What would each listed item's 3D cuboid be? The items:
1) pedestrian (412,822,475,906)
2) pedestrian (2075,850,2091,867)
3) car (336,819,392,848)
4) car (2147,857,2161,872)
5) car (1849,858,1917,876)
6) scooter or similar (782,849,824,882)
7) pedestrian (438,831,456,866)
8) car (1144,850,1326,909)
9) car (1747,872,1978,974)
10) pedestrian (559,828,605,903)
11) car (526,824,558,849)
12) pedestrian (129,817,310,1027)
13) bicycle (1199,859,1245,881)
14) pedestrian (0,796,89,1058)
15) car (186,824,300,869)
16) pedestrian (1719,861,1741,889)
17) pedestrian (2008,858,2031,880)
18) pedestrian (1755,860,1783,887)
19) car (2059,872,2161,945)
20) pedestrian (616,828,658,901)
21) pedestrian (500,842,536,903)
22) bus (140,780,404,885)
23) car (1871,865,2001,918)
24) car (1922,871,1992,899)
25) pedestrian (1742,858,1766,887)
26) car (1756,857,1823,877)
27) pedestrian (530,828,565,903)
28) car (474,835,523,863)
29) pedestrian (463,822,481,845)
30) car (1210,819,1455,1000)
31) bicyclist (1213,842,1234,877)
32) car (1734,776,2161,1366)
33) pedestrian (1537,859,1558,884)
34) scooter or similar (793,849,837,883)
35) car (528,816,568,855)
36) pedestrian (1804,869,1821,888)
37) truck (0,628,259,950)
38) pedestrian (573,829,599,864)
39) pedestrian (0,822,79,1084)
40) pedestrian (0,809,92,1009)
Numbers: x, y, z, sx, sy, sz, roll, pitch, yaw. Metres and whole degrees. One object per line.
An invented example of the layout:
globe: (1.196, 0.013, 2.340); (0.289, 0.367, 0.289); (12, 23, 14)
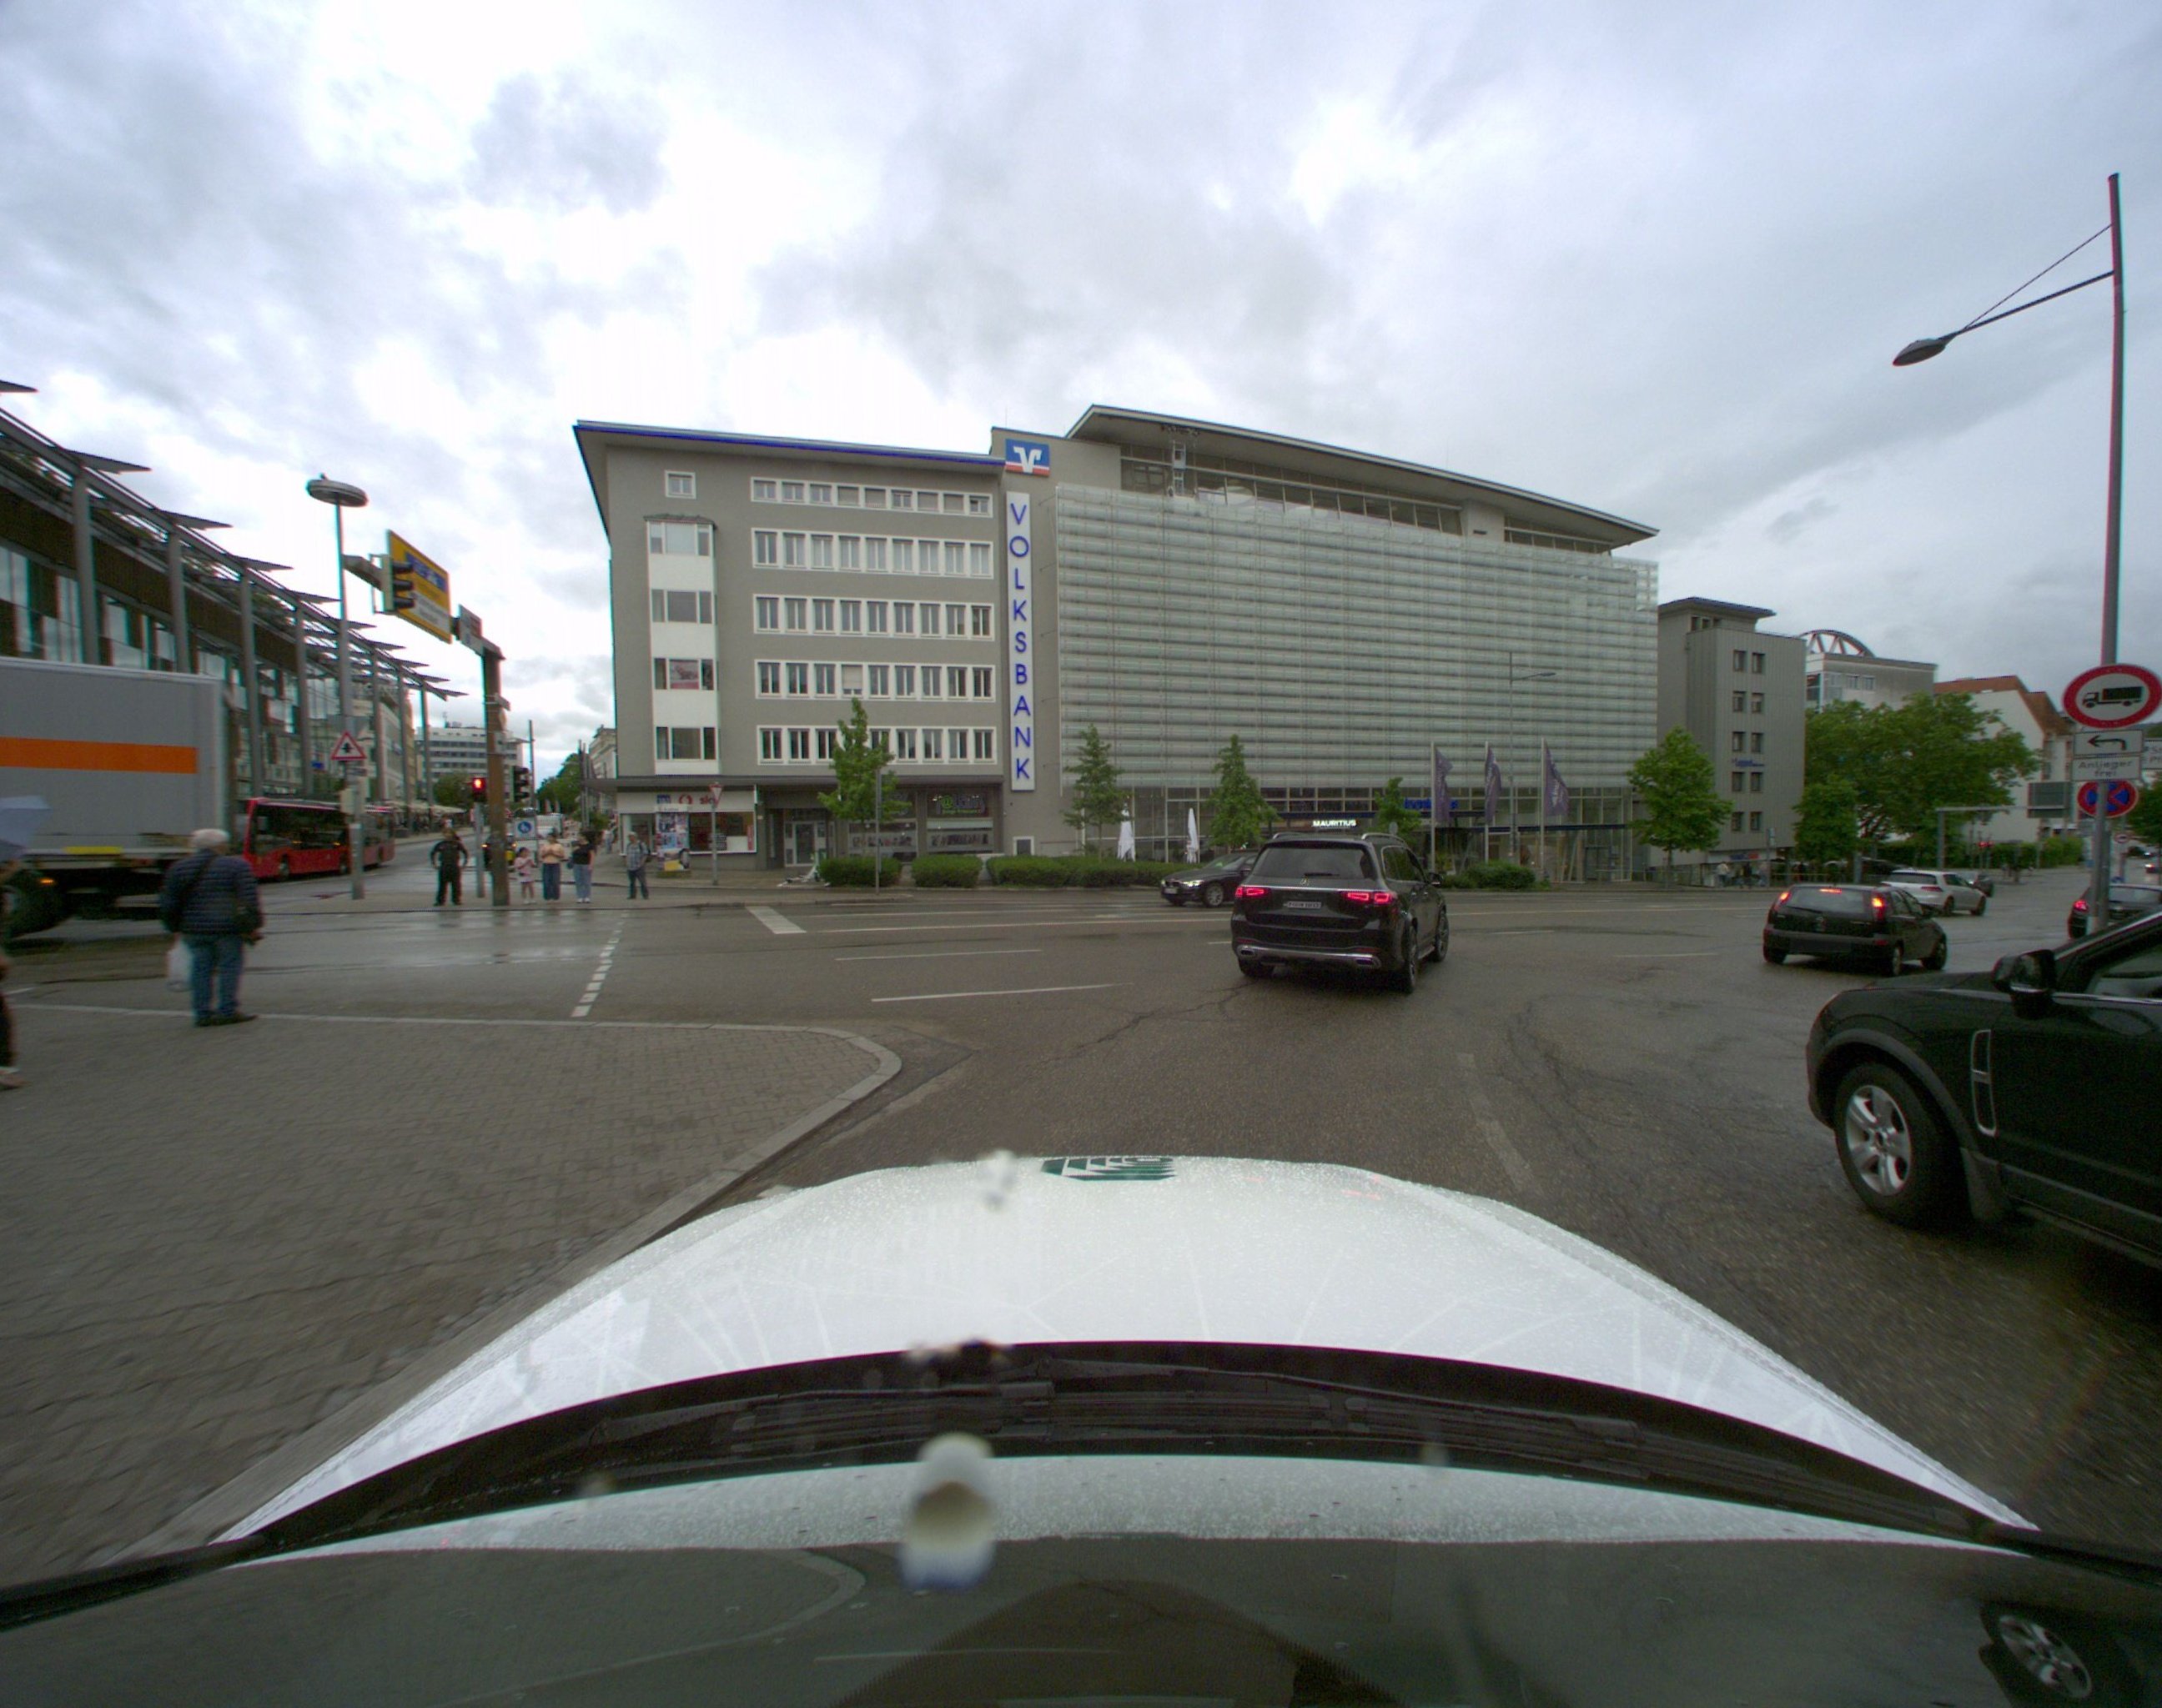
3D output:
pedestrian: (-14.015, 0.207, 17.935); (1.017, 1.787, 0.844); (1, 0, -36)
pedestrian: (107.096, 0.459, 87.031); (0.895, 1.803, 0.631); (1, 0, 22)
car: (-53.136, -1.474, 60.443); (2.257, 2.034, 5.303); (1, 0, -32)
car: (105.549, 1.061, 79.429); (3.877, 1.451, 1.694); (0, 2, -35)
car: (79.681, 1.270, 80.946); (1.951, 1.482, 4.555); (1, 3, -39)
scooter or similar: (-10.319, 0.428, 30.269); (1.380, 1.187, 0.542); (-1, 1, -10)
pedestrian: (-33.242, -0.294, 42.697); (0.629, 1.803, 0.897); (1, 0, -31)
car: (4.187, 0.648, 22.027); (4.645, 1.425, 1.982); (1, 0, -29)
car: (13.295, 1.140, 13.827); (3.779, 1.420, 1.707); (3, 0, -28)
pedestrian: (-11.518, 0.252, 18.816); (0.784, 1.689, 0.634); (1, 0, -21)
car: (-40.091, -1.291, 60.641); (1.873, 1.826, 4.063); (1, 0, -32)
pedestrian: (-6.956, 0.514, 6.634); (0.716, 1.568, 0.848); (1, -1, -25)
bicycle: (6.996, 0.785, 40.377); (2.141, 0.993, 0.691); (-1, 1, -16)
pedestrian: (-7.446, 0.458, 5.267); (0.982, 1.672, 0.908); (1, 0, -24)
car: (-41.500, -0.364, 40.557); (2.460, 2.075, 5.851); (1, 0, -30)
pedestrian: (40.900, 1.309, 51.320); (1.044, 1.722, 0.984); (1, 0, -45)
pedestrian: (81.136, 1.288, 70.388); (0.838, 1.882, 1.059); (1, 0, -20)
pedestrian: (45.380, 1.298, 53.711); (1.090, 1.722, 0.970); (1, 0, -20)
car: (26.363, 1.295, 20.239); (4.012, 1.573, 1.938); (1, 2, -30)
pedestrian: (-11.097, 0.256, 20.352); (0.836, 1.778, 0.611); (1, 0, -35)
pedestrian: (-12.632, 0.406, 18.278); (0.634, 1.339, 0.581); (1, 0, -35)
bus: (-32.939, -0.761, 34.581); (2.937, 3.320, 18.308); (0, 1, -29)
car: (29.013, 1.224, 27.636); (4.009, 1.573, 1.939); (1, 2, -27)
car: (51.428, 1.767, 47.902); (1.823, 1.552, 4.119); (0, -1, 32)
pedestrian: (41.381, 1.133, 50.080); (1.318, 1.713, 0.810); (1, 0, -34)
car: (75.503, 1.384, 86.866); (2.010, 1.758, 5.031); (1, 3, -39)
pedestrian: (-12.112, 0.251, 18.507); (0.571, 1.668, 0.498); (0, 1, -23)
car: (-33.480, -0.310, 46.902); (1.747, 1.527, 3.964); (1, 1, -28)
pedestrian: (-49.752, -1.681, 66.516); (0.958, 1.886, 0.804); (1, 0, -23)
car: (3.608, 0.571, 10.907); (2.068, 1.817, 4.822); (2, 0, 30)
bicyclist: (7.056, 0.273, 40.387); (0.846, 1.704, 0.620); (-1, 1, -15)
car: (4.199, 0.672, 2.174); (1.896, 1.785, 4.312); (1, 1, 8)
pedestrian: (26.671, 0.996, 46.561); (0.845, 1.456, 0.650); (1, 0, -20)
scooter or similar: (-10.429, 0.452, 31.976); (1.497, 1.256, 0.928); (0, 5, -10)
car: (-43.327, -1.485, 66.276); (2.460, 2.957, 6.092); (1, 0, -31)
pedestrian: (68.726, 2.275, 76.543); (0.950, 1.722, 0.756); (1, 0, -14)
truck: (-17.745, -0.858, 9.856); (10.831, 4.333, 2.821); (-1, 1, -43)
pedestrian: (-25.185, -0.392, 41.429); (1.029, 1.775, 0.791); (1, 0, -35)
pedestrian: (-6.565, 0.563, 4.749); (0.708, 1.488, 0.556); (1, -1, -25)
pedestrian: (-9.485, 0.468, 7.149); (0.760, 1.692, 0.688); (1, -1, -25)
